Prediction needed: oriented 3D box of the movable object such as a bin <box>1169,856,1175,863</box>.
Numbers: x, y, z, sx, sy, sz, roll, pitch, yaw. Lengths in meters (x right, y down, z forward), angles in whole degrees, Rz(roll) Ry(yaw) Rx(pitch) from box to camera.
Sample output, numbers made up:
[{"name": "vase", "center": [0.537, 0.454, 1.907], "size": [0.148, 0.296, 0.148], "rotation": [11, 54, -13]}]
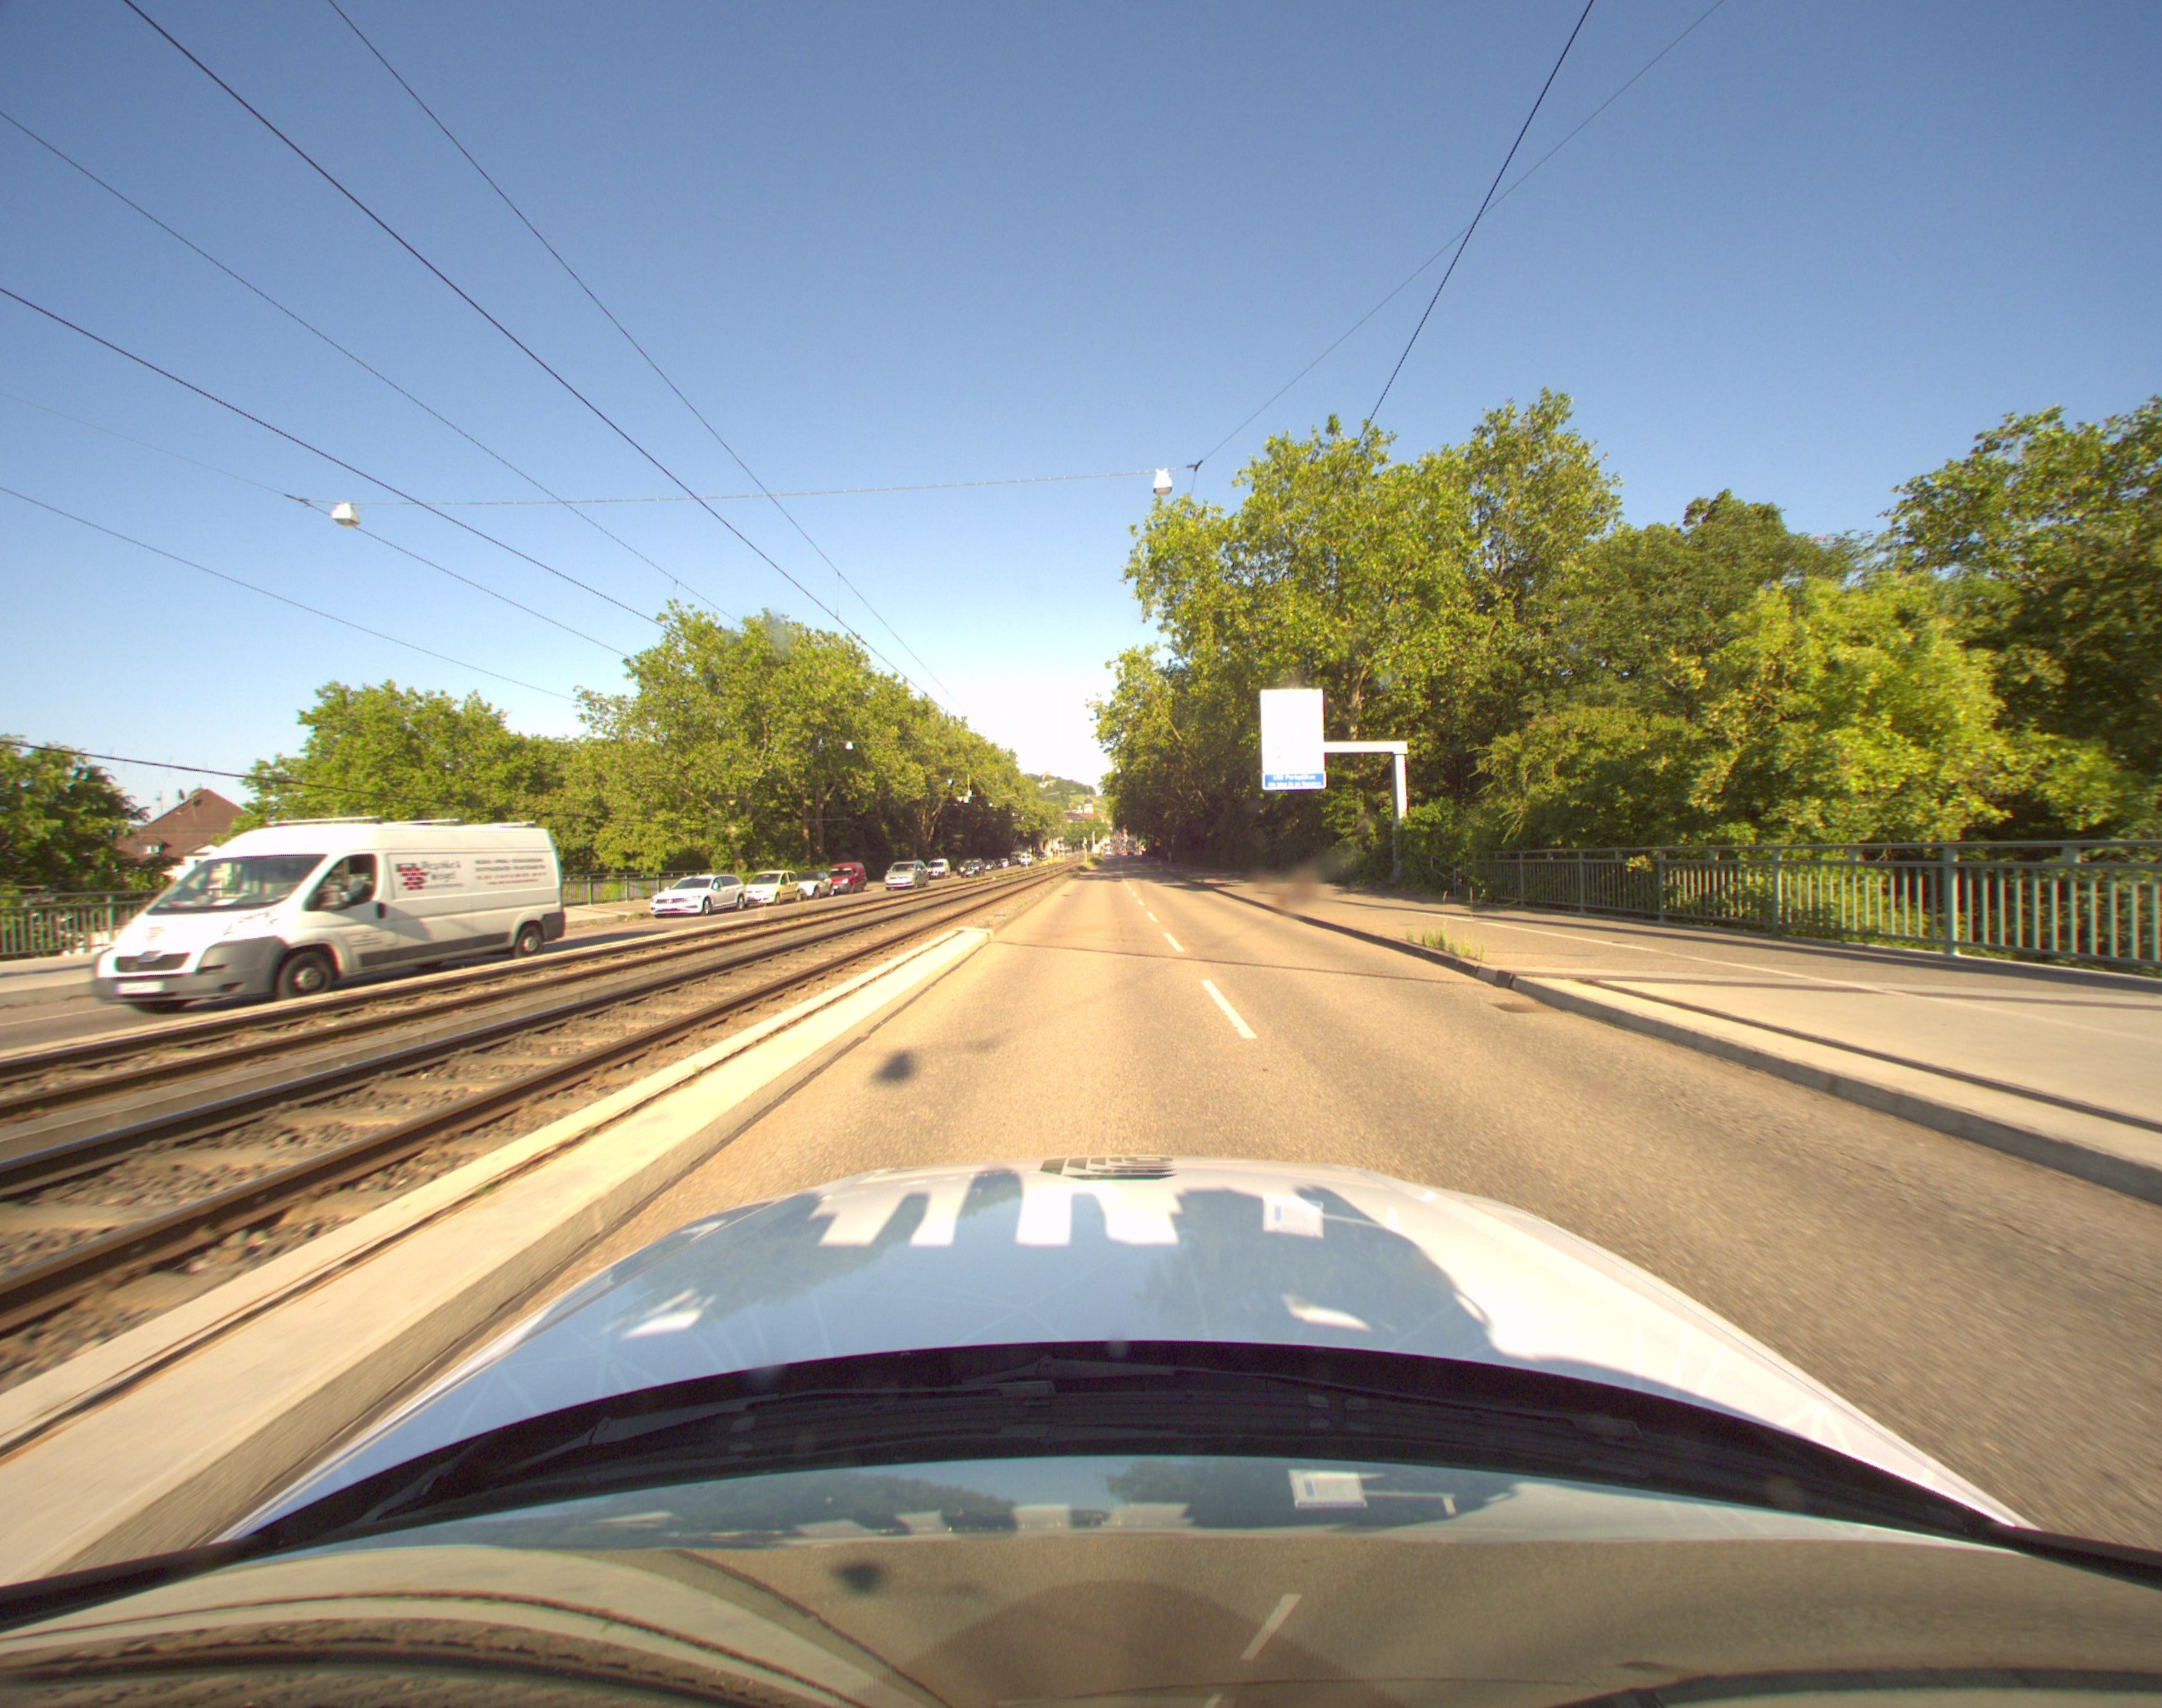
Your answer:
[{"name": "movable object such as a bin", "center": [11.976, 0.748, 107.422], "size": [0.800, 0.947, 0.657], "rotation": [-2, 0, 5]}]

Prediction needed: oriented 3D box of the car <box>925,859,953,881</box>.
[{"name": "car", "center": [-13.023, 1.454, 74.812], "size": [1.736, 1.743, 4.512], "rotation": [-5, 1, -1]}]

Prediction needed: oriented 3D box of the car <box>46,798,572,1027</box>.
[{"name": "car", "center": [-10.935, 0.667, 12.563], "size": [2.078, 2.593, 6.044], "rotation": [-3, 0, 2]}]

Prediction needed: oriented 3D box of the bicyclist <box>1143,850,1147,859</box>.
[{"name": "bicyclist", "center": [13.572, 0.114, 172.335], "size": [0.883, 1.774, 1.223], "rotation": [-2, 0, 2]}]

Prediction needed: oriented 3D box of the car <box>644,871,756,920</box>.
[{"name": "car", "center": [-13.889, 1.469, 30.063], "size": [1.736, 1.464, 4.956], "rotation": [-1, 0, 1]}]

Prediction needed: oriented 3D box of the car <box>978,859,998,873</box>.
[{"name": "car", "center": [-12.535, 1.573, 109.806], "size": [1.987, 1.697, 4.744], "rotation": [-2, 0, 0]}]

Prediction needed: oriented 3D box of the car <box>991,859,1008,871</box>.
[{"name": "car", "center": [-12.251, 1.681, 122.845], "size": [1.987, 1.697, 4.744], "rotation": [-2, 0, 0]}]

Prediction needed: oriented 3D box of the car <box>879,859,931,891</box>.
[{"name": "car", "center": [-10.438, 1.204, 48.734], "size": [1.866, 1.665, 4.599], "rotation": [-3, 0, 2]}]

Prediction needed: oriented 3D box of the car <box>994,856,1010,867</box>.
[{"name": "car", "center": [-12.991, 1.278, 134.194], "size": [1.987, 1.697, 4.744], "rotation": [-2, 0, 0]}]

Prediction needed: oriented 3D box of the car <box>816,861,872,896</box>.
[{"name": "car", "center": [-13.505, 1.365, 46.690], "size": [1.735, 1.754, 4.685], "rotation": [-2, 0, 1]}]

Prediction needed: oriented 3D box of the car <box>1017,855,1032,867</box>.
[{"name": "car", "center": [-9.442, 1.085, 135.798], "size": [1.986, 1.844, 5.303], "rotation": [-2, 0, 1]}]

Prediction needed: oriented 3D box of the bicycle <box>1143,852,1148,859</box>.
[{"name": "bicycle", "center": [13.585, 0.291, 172.012], "size": [0.884, 1.321, 2.640], "rotation": [-2, 0, 1]}]

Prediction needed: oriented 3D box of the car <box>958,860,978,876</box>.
[{"name": "car", "center": [-12.496, 1.498, 90.006], "size": [1.738, 1.636, 3.996], "rotation": [-3, 0, -3]}]

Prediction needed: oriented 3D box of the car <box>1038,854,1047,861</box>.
[{"name": "car", "center": [-9.385, 0.797, 199.504], "size": [1.987, 1.697, 4.744], "rotation": [-2, 0, 0]}]

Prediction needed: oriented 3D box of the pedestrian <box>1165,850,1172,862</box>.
[{"name": "pedestrian", "center": [11.623, 0.230, 108.260], "size": [0.800, 1.546, 0.815], "rotation": [-2, 0, 5]}]

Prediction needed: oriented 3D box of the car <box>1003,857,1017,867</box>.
[{"name": "car", "center": [-12.746, 1.392, 146.116], "size": [1.987, 1.697, 4.744], "rotation": [-2, 0, 0]}]

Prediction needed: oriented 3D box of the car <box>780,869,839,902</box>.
[{"name": "car", "center": [-13.718, 1.544, 41.311], "size": [1.628, 1.450, 4.001], "rotation": [-2, 0, -1]}]

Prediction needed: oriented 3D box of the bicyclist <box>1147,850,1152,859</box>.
[{"name": "bicyclist", "center": [13.257, 0.153, 156.696], "size": [0.883, 1.638, 1.165], "rotation": [-2, 0, 2]}]

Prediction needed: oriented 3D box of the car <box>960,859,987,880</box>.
[{"name": "car", "center": [-9.733, 1.362, 73.858], "size": [1.736, 1.623, 4.394], "rotation": [-4, 0, 0]}]

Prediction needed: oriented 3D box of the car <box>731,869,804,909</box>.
[{"name": "car", "center": [-13.745, 1.504, 35.930], "size": [1.627, 1.531, 3.791], "rotation": [-2, 0, 1]}]

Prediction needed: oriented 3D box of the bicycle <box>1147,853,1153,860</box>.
[{"name": "bicycle", "center": [13.265, 0.455, 156.596], "size": [0.883, 1.321, 2.641], "rotation": [-2, 0, 2]}]
